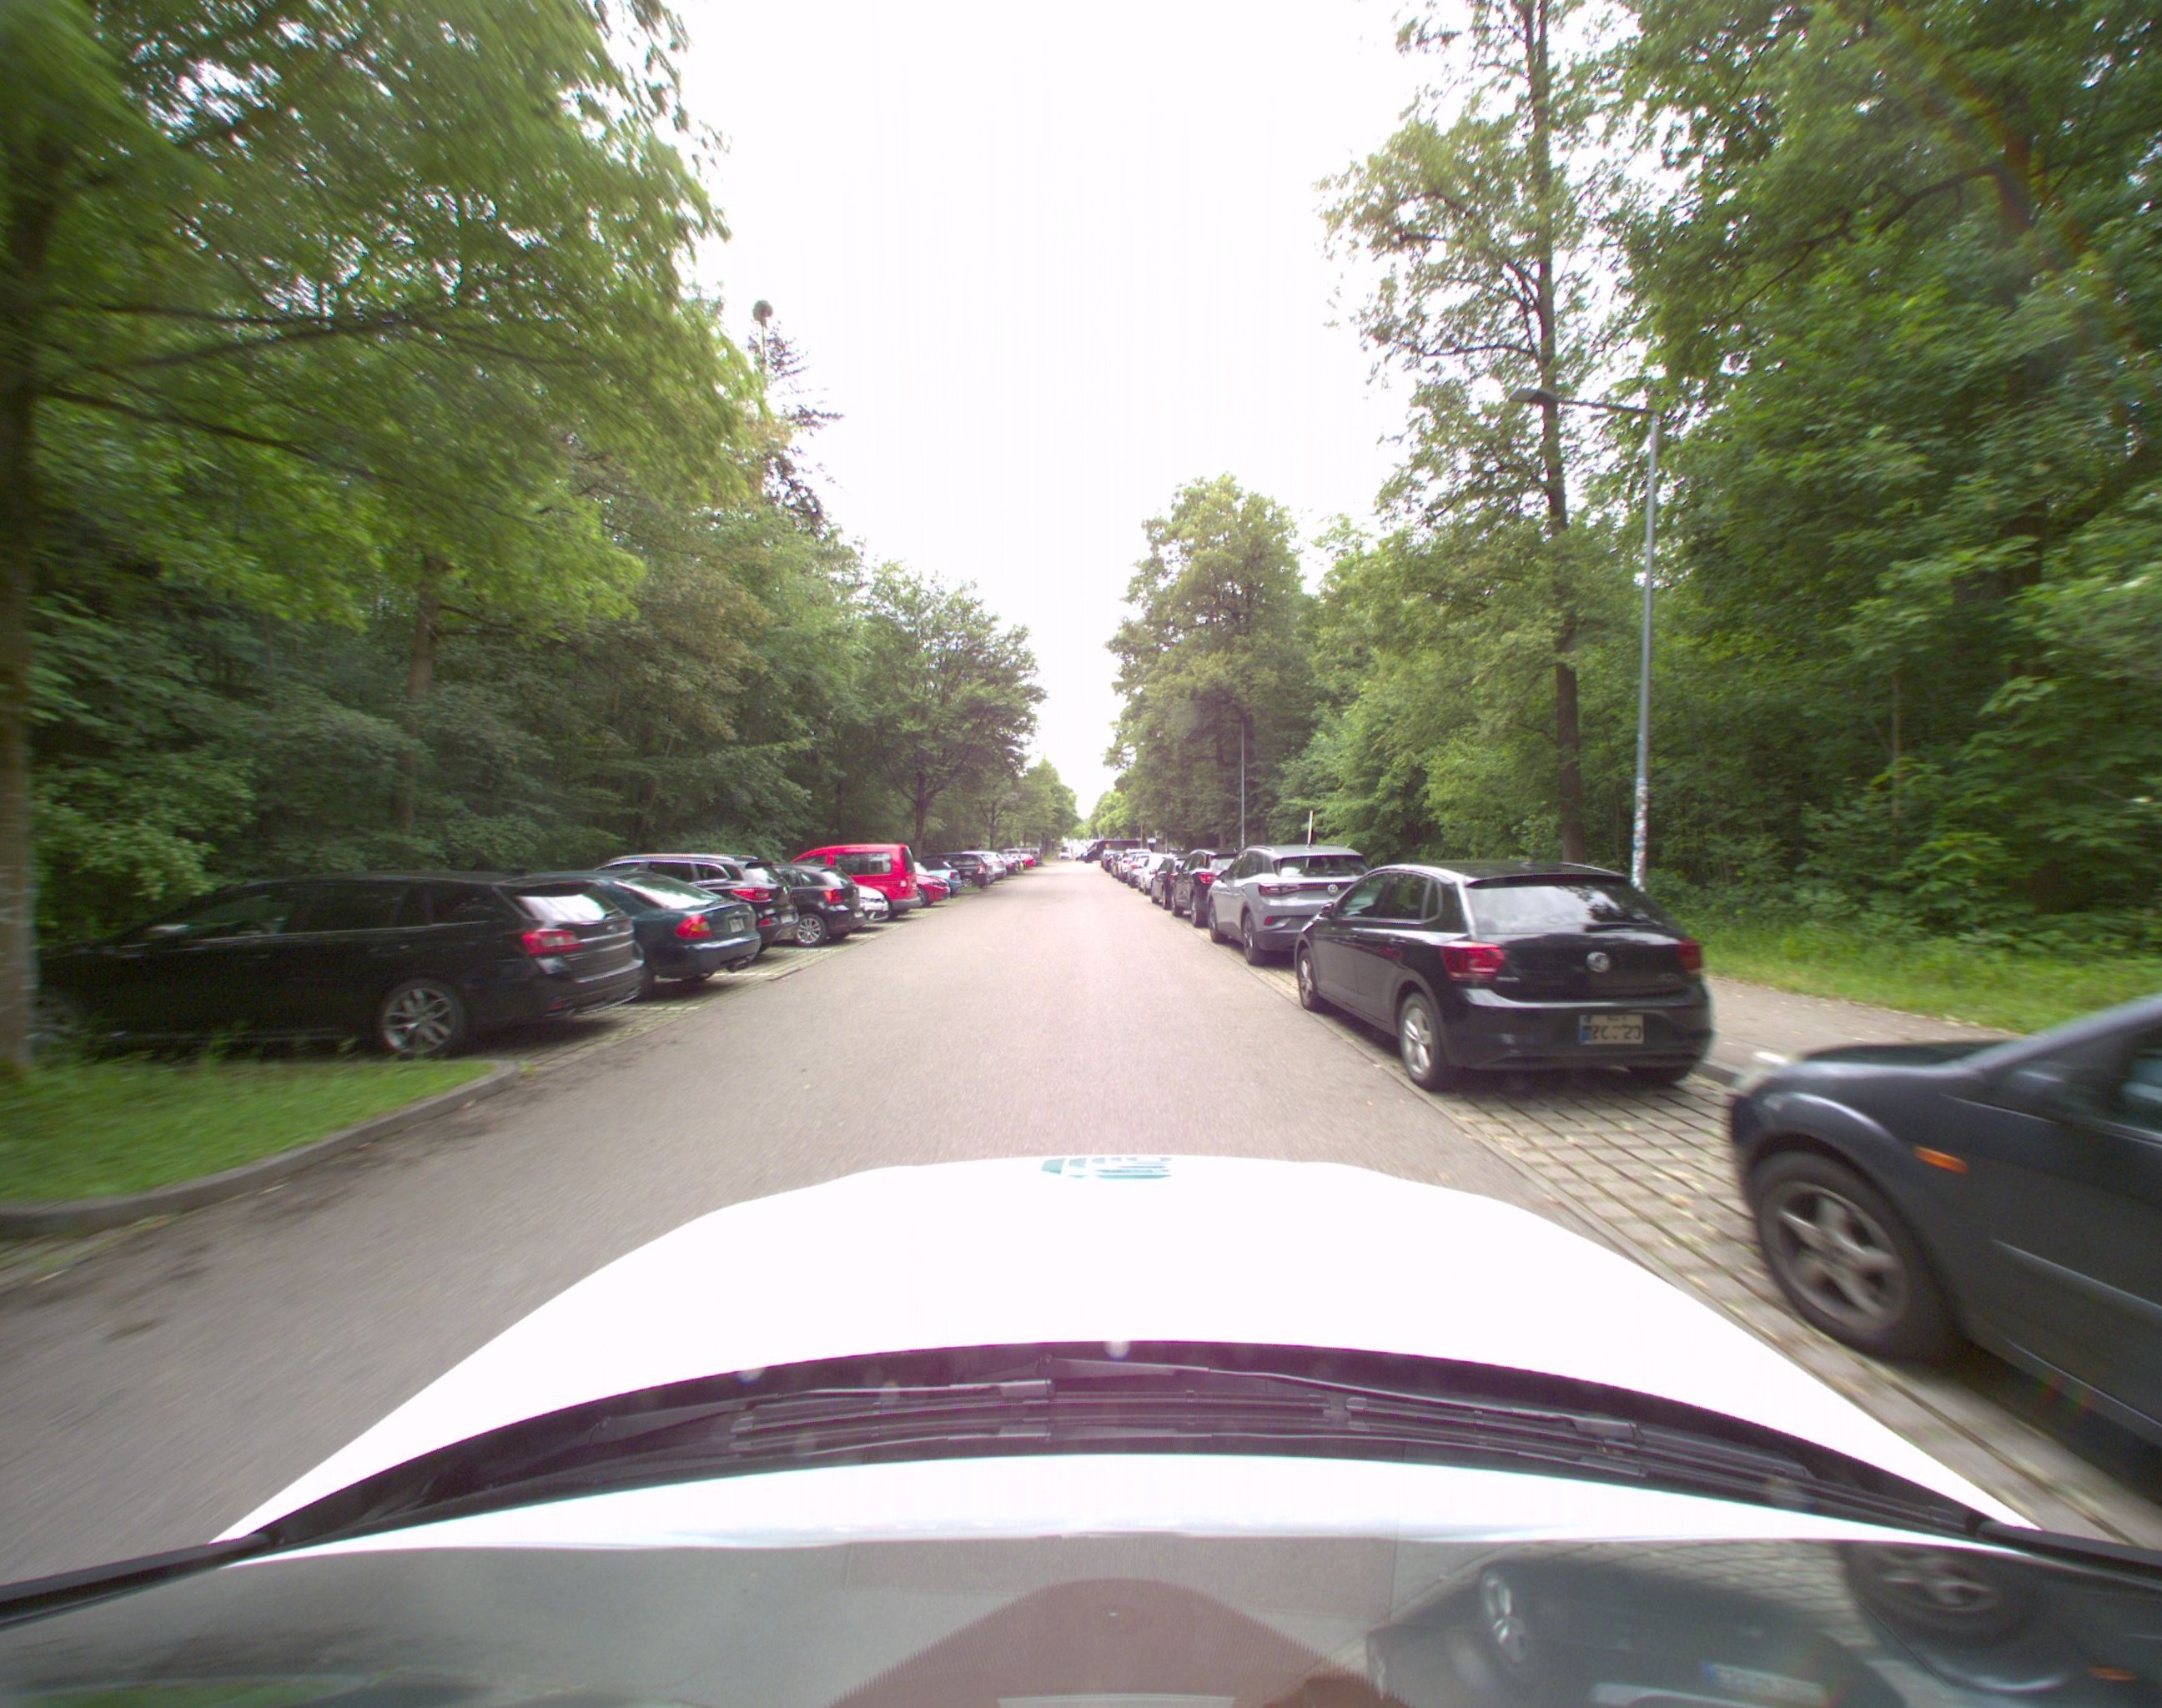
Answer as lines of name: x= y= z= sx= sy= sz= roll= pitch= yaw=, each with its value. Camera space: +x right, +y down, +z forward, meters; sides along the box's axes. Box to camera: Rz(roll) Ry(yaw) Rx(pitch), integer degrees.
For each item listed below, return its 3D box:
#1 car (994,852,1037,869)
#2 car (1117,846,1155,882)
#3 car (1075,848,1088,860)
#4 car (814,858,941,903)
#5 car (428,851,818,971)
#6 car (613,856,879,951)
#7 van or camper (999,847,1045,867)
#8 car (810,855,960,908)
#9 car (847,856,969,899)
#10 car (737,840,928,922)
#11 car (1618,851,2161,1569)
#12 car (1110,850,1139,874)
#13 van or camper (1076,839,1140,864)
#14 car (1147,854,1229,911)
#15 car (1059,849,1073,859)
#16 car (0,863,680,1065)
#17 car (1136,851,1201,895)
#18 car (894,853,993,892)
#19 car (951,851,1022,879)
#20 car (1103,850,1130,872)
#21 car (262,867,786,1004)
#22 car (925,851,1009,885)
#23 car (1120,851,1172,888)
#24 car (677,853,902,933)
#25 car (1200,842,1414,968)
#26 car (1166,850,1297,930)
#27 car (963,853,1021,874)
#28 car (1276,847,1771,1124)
car: x=-5.838 y=0.562 z=71.998 sx=3.580 sy=1.361 sz=1.821 roll=-1 pitch=0 yaw=-12
car: x=2.757 y=0.481 z=41.695 sx=1.705 sy=1.728 sz=4.000 roll=0 pitch=0 yaw=1
car: x=0.106 y=0.039 z=109.607 sx=1.685 sy=1.415 sz=3.153 roll=0 pitch=3 yaw=-1
car: x=-6.773 y=0.865 z=27.389 sx=3.733 sy=1.369 sz=1.936 roll=-1 pitch=0 yaw=1
car: x=-6.651 y=0.788 z=12.264 sx=4.717 sy=1.595 sz=1.959 roll=-1 pitch=0 yaw=-1
car: x=-5.863 y=0.826 z=14.722 sx=3.979 sy=1.530 sz=1.997 roll=-1 pitch=0 yaw=-4
van or camper: x=-6.100 y=0.295 z=84.059 sx=4.481 sy=1.868 sz=1.911 roll=0 pitch=3 yaw=-15
car: x=-5.816 y=0.798 z=24.564 sx=3.973 sy=1.474 sz=2.115 roll=-1 pitch=0 yaw=0
car: x=-6.239 y=0.824 z=29.660 sx=3.973 sy=1.474 sz=1.848 roll=-1 pitch=0 yaw=1
car: x=-5.876 y=0.619 z=19.715 sx=3.977 sy=1.816 sz=2.113 roll=-1 pitch=0 yaw=-3
car: x=3.072 y=0.756 z=1.450 sx=1.593 sy=1.504 sz=4.090 roll=0 pitch=0 yaw=1
car: x=2.838 y=0.504 z=53.935 sx=1.705 sy=1.509 sz=4.000 roll=0 pitch=0 yaw=1
van or camper: x=3.272 y=-0.295 z=99.741 sx=7.335 sy=2.888 sz=2.637 roll=0 pitch=3 yaw=-15
car: x=2.934 y=0.732 z=23.049 sx=1.662 sy=1.444 sz=3.810 roll=0 pitch=0 yaw=-3
car: x=-2.022 y=0.000 z=113.360 sx=1.732 sy=1.161 sz=3.413 roll=1 pitch=3 yaw=2
car: x=-6.167 y=0.845 z=7.235 sx=4.288 sy=1.449 sz=1.754 roll=-1 pitch=0 yaw=-5
car: x=3.149 y=0.655 z=30.009 sx=1.931 sy=1.475 sz=3.990 roll=0 pitch=0 yaw=-1
car: x=-5.781 y=0.765 z=34.500 sx=3.819 sy=1.536 sz=1.871 roll=-1 pitch=0 yaw=1
car: x=-5.684 y=0.661 z=49.254 sx=3.973 sy=1.640 sz=2.010 roll=-1 pitch=0 yaw=1
car: x=2.627 y=0.500 z=61.154 sx=1.914 sy=1.520 sz=3.888 roll=0 pitch=0 yaw=1
car: x=-6.208 y=0.869 z=9.560 sx=4.717 sy=1.343 sz=1.986 roll=-1 pitch=0 yaw=-1
car: x=-5.815 y=0.692 z=41.831 sx=3.973 sy=1.640 sz=1.735 roll=-1 pitch=0 yaw=1
car: x=2.806 y=0.635 z=35.882 sx=1.718 sy=1.494 sz=3.768 roll=0 pitch=0 yaw=-5
car: x=-6.005 y=0.764 z=17.168 sx=3.974 sy=1.530 sz=2.000 roll=-1 pitch=0 yaw=-1
car: x=3.127 y=0.619 z=12.346 sx=1.972 sy=1.537 sz=4.621 roll=0 pitch=0 yaw=0
car: x=3.157 y=0.689 z=17.984 sx=1.973 sy=1.537 sz=4.162 roll=0 pitch=0 yaw=-3
car: x=-6.274 y=0.672 z=57.434 sx=3.983 sy=1.382 sz=1.995 roll=-1 pitch=0 yaw=-7
car: x=2.907 y=0.704 z=6.493 sx=1.632 sy=1.477 sz=4.149 roll=0 pitch=0 yaw=-1
